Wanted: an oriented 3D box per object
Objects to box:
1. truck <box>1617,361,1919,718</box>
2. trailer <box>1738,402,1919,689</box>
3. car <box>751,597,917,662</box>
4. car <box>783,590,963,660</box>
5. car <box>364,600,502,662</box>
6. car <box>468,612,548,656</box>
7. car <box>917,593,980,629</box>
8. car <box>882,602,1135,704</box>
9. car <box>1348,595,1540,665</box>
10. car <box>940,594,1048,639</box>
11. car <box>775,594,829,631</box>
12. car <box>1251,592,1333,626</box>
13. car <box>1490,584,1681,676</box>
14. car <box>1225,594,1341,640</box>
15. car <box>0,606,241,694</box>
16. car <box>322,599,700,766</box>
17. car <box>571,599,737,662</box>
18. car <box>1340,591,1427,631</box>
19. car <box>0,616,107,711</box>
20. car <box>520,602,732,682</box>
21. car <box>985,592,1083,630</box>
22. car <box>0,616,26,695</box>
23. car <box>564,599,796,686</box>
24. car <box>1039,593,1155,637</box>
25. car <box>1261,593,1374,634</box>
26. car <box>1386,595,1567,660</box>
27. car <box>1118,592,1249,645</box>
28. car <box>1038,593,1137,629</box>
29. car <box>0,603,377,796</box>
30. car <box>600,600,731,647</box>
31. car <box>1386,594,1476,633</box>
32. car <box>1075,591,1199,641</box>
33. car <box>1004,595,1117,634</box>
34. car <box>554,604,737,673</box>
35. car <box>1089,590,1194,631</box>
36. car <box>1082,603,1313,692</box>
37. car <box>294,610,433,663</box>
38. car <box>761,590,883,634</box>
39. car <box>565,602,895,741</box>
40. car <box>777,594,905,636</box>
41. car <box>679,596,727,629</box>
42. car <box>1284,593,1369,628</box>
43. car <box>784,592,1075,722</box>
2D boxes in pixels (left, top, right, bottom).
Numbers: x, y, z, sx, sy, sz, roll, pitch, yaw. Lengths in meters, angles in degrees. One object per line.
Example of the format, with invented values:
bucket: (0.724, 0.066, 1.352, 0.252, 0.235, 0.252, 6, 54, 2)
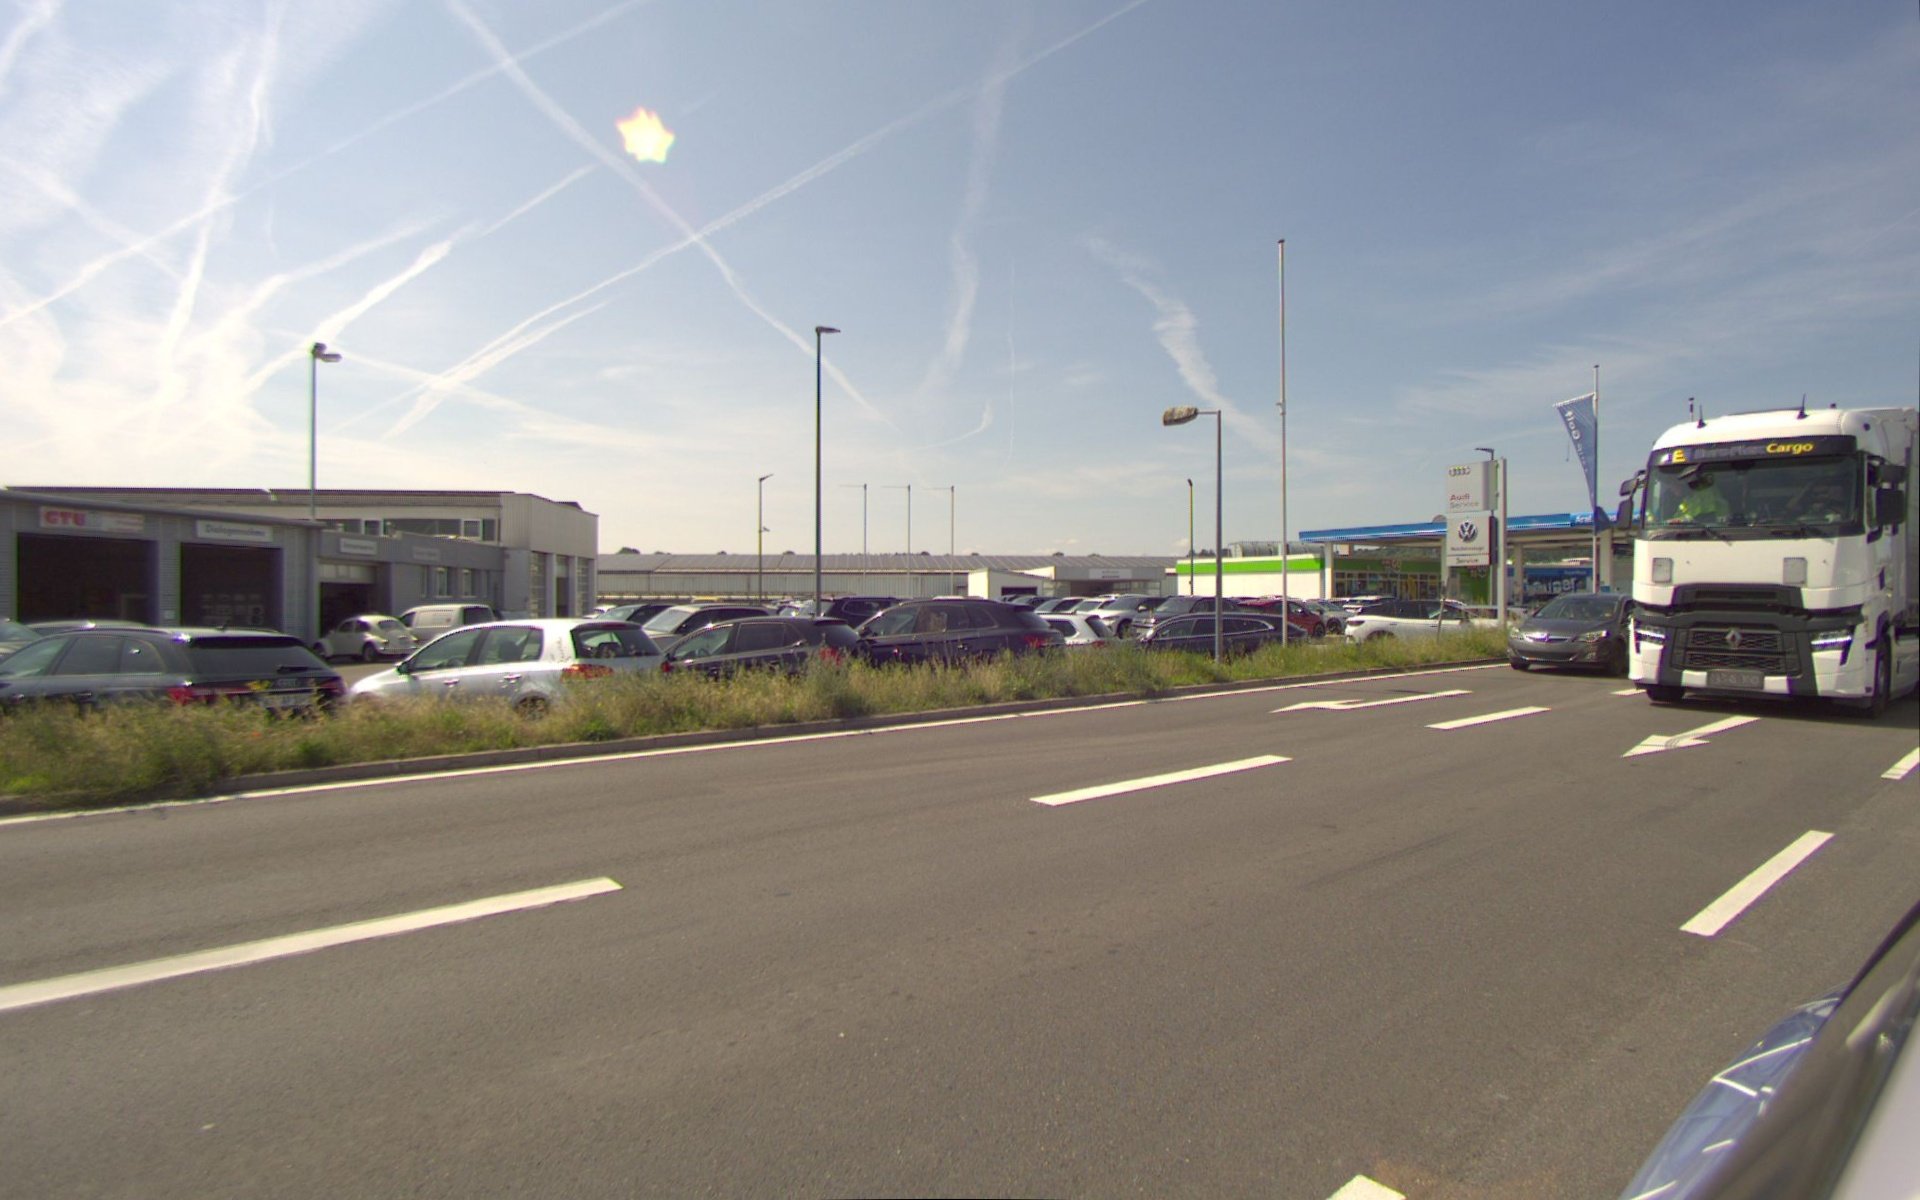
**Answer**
truck: (11.915, -0.713, 14.340, 5.933, 4.037, 2.647, 0, 1, -39)
trailer: (18.080, -0.843, 19.266, 11.087, 4.280, 2.613, 0, 1, -39)
car: (-3.489, 0.757, 28.434, 4.352, 1.675, 1.775, 0, 1, -38)
car: (-2.230, 0.588, 26.509, 4.454, 1.675, 1.775, 0, 1, -38)
car: (-18.328, 1.024, 35.194, 4.484, 1.973, 1.763, 1, 1, 22)
car: (-20.559, 1.495, 46.000, 3.900, 1.751, 1.953, 1, 1, 43)
car: (-0.655, 0.534, 52.247, 2.025, 1.750, 4.548, 0, 1, -17)
car: (0.827, 0.825, 17.222, 3.957, 1.476, 1.761, 1, 1, 25)
car: (12.825, 0.744, 27.101, 4.488, 1.675, 1.762, 1, 1, 24)
car: (1.171, 0.567, 37.319, 1.910, 1.477, 4.544, 0, 1, -29)
car: (-7.815, 0.570, 49.726, 2.025, 1.675, 4.548, 0, 1, -17)
car: (16.608, 0.431, 50.554, 4.242, 1.600, 1.722, 0, 1, -35)
car: (11.985, 0.494, 19.280, 4.374, 1.538, 1.996, 0, 1, -43)
car: (11.992, 0.593, 37.450, 4.452, 1.600, 1.776, 0, 1, -35)
car: (-17.777, 1.015, 21.487, 4.009, 1.675, 1.772, 1, 1, 9)
car: (-5.119, 0.817, 11.560, 3.953, 1.578, 1.700, 1, 1, 22)
car: (-9.188, 0.853, 30.505, 4.452, 1.751, 1.823, 0, 1, -35)
car: (19.366, 0.464, 46.255, 4.179, 1.734, 1.714, 0, 1, -35)
car: (-18.467, 1.120, 18.845, 4.008, 1.629, 1.690, 1, -1, 8)
car: (-7.941, 0.911, 24.321, 4.464, 1.675, 1.964, 0, 1, -45)
car: (3.190, 0.439, 43.223, 4.051, 1.551, 1.609, 0, 1, -35)
car: (-22.676, 1.187, 21.557, 4.096, 1.675, 1.774, 1, 1, 4)
car: (-6.110, 0.850, 22.484, 4.633, 1.675, 1.904, 0, 1, -45)
car: (5.251, 0.540, 38.573, 4.452, 1.545, 1.691, 0, 1, -35)
car: (15.581, 0.548, 44.276, 1.742, 1.600, 4.540, 0, 1, -33)
car: (14.727, 0.733, 29.131, 4.490, 1.675, 1.761, 1, 1, 25)
car: (7.556, 0.574, 34.010, 4.452, 1.675, 1.776, 0, 1, -35)
car: (6.112, 0.508, 48.514, 4.444, 1.675, 1.779, 0, 1, -25)
car: (-8.008, 0.815, 9.735, 4.285, 1.470, 1.766, 1, 1, 18)
car: (-11.178, 0.849, 38.534, 4.453, 1.675, 1.776, 0, 1, -36)
car: (20.590, 0.578, 44.206, 4.069, 1.600, 1.776, 0, 1, -35)
car: (6.406, 0.524, 36.345, 4.452, 1.675, 1.776, 0, 1, -35)
car: (4.071, 0.537, 40.606, 4.452, 1.459, 1.776, 0, 1, -35)
car: (-8.562, 0.986, 27.716, 4.452, 1.675, 1.776, 0, 1, -36)
car: (7.889, 0.417, 43.918, 4.448, 1.675, 1.777, 0, 1, -32)
car: (4.921, 0.920, 20.980, 4.479, 1.600, 1.765, 1, 1, 19)
car: (-19.194, 1.146, 32.561, 4.028, 1.510, 1.764, 1, 1, 22)
car: (-5.414, 0.452, 39.543, 4.442, 1.603, 1.827, 0, 1, -19)
car: (-3.008, 0.861, 13.486, 3.941, 1.572, 1.768, 1, 1, 14)
car: (-4.390, 0.541, 37.218, 4.390, 1.449, 1.827, 0, 1, -19)
car: (-16.038, 0.735, 63.357, 2.167, 1.955, 4.164, 1, 1, -4)
car: (17.496, 0.478, 48.287, 4.158, 1.600, 1.776, 0, 1, -35)
car: (-0.419, 0.749, 14.938, 3.946, 1.675, 1.766, 1, 1, 17)
